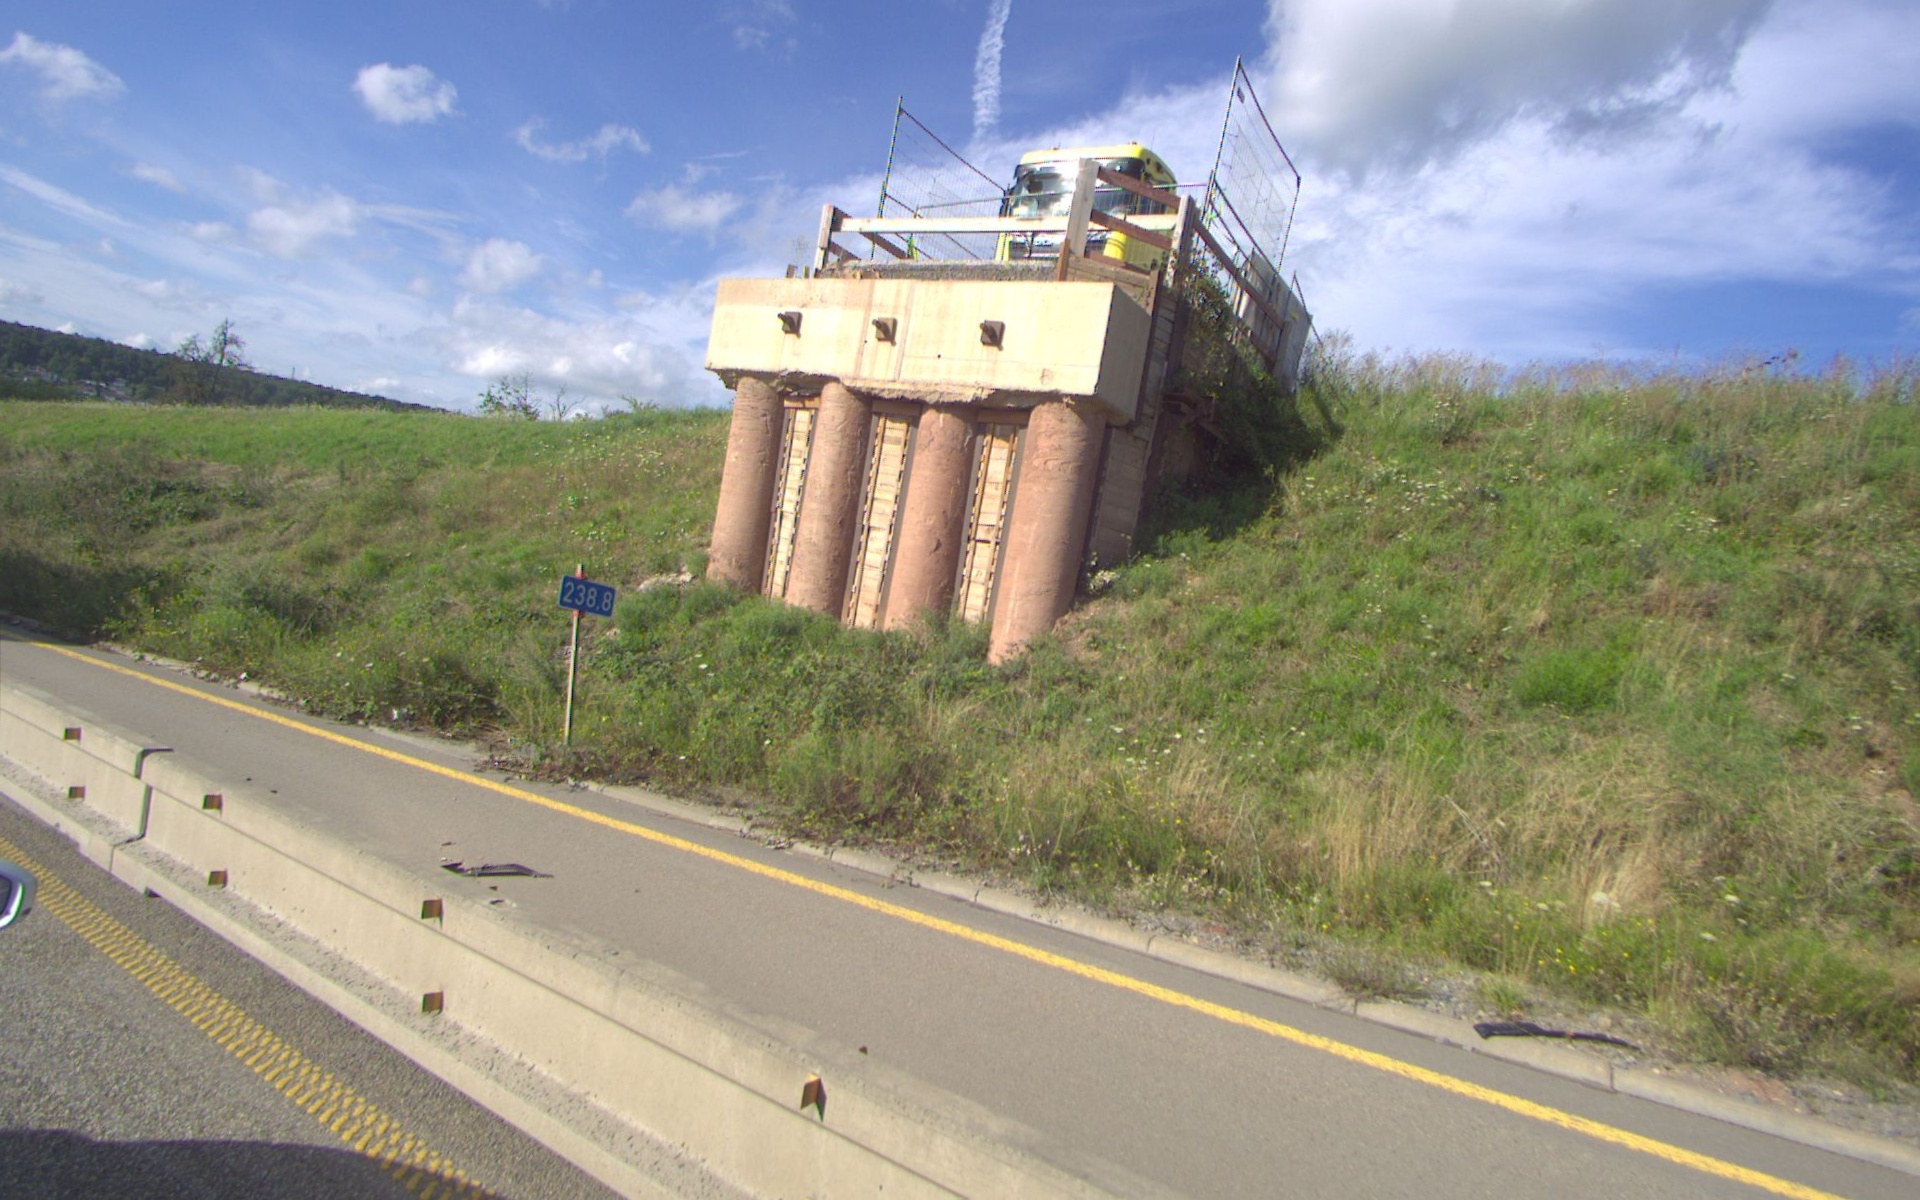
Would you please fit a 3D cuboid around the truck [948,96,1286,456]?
[{"bbox_3d":[3.543,-5.374,19.184,2.910,3.266,9.281,7,-1,30],"label":"truck"}]
